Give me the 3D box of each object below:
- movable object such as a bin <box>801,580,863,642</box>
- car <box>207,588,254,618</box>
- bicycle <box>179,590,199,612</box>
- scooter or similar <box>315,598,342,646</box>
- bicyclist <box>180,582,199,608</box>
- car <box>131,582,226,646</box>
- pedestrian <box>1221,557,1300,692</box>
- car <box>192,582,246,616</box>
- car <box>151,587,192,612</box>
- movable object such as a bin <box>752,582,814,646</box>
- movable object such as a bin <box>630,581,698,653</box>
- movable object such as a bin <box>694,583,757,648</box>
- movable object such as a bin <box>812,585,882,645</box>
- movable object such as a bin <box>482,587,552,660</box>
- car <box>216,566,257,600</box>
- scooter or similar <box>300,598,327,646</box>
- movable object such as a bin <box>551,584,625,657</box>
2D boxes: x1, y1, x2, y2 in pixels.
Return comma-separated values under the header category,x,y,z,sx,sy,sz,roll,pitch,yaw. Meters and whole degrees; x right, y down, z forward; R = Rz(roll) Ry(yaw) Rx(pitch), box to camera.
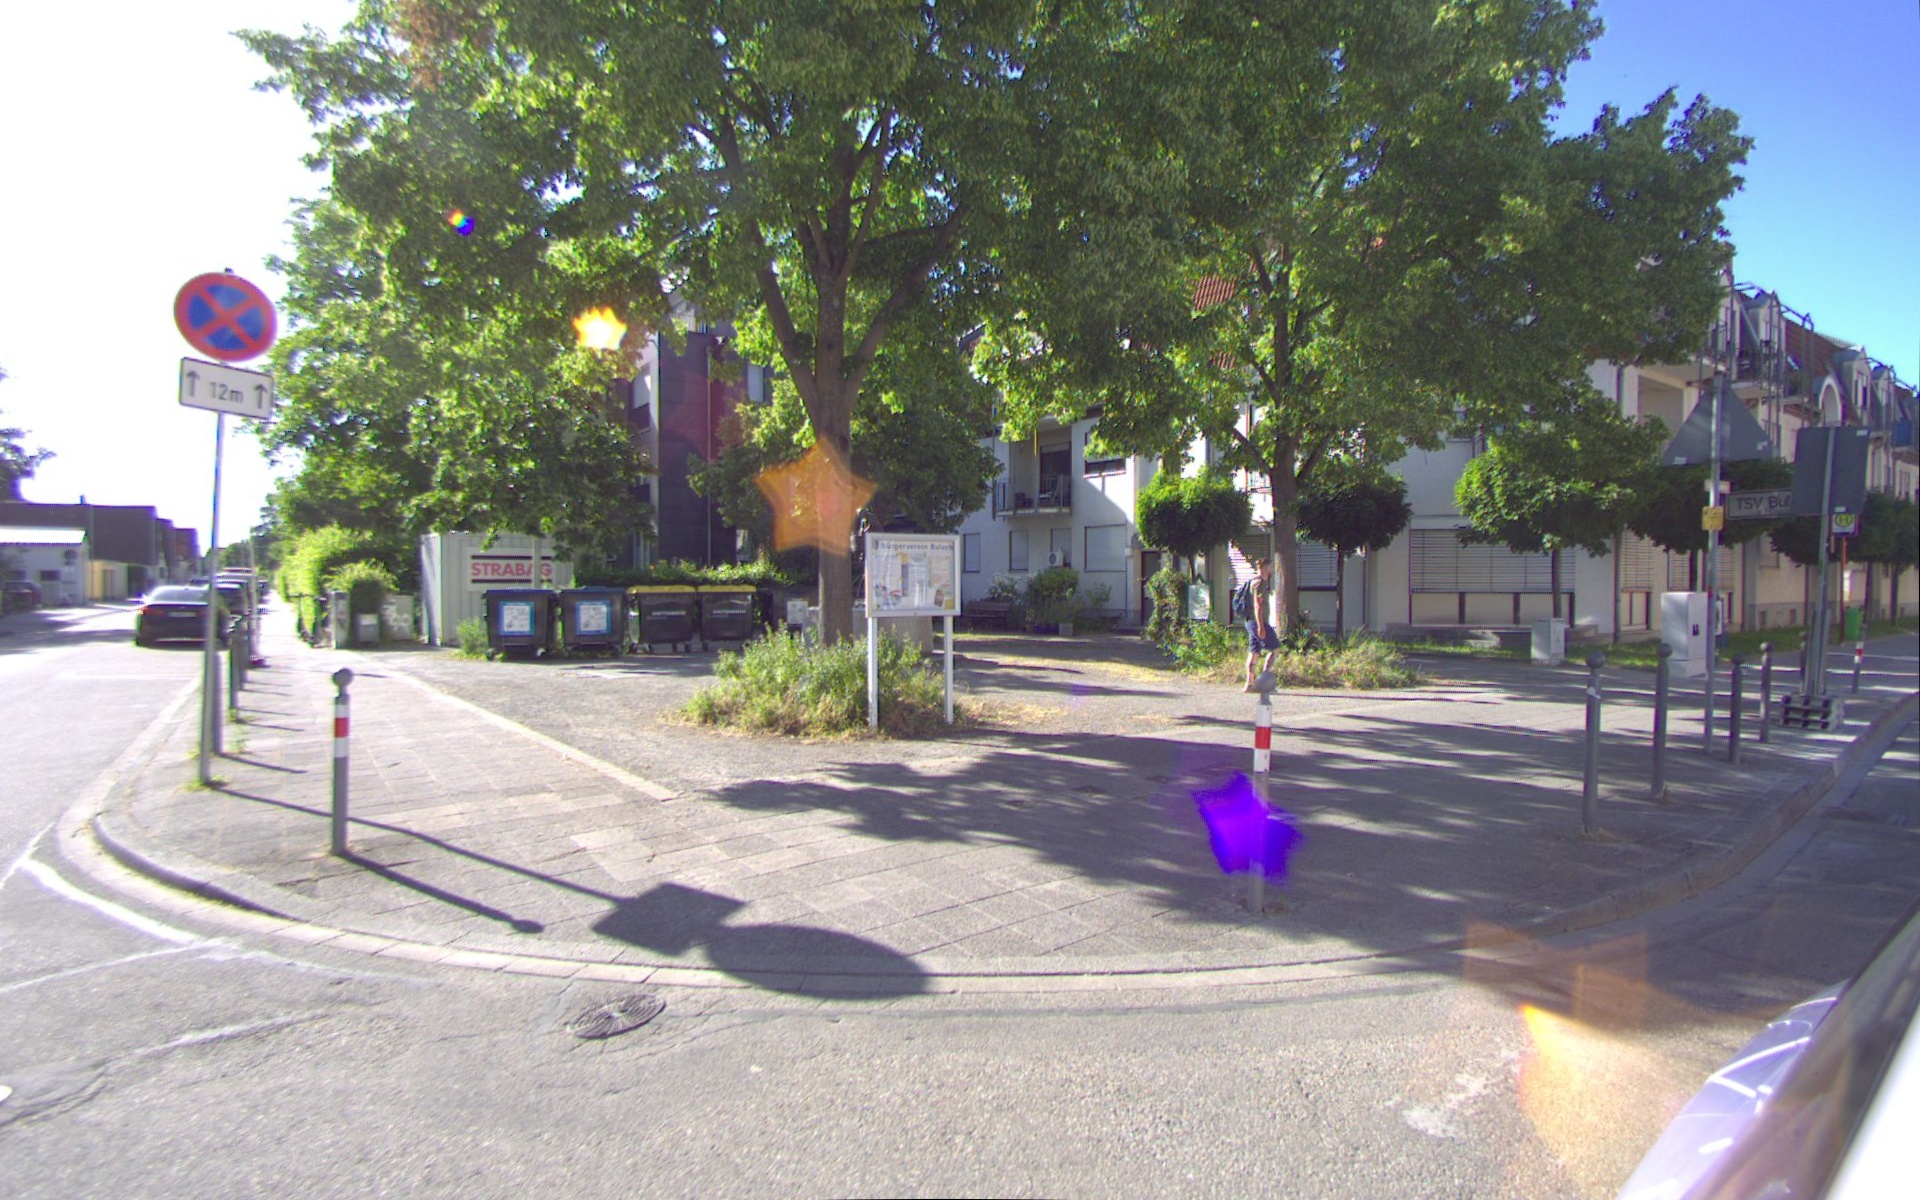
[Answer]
category,x,y,z,sx,sy,sz,roll,pitch,yaw
movable object such as a bin,-2.754,0.239,21.720,0.995,1.271,0.973,-2,-1,-28
car,-35.078,0.103,48.733,1.759,1.375,4.135,0,1,-35
bicycle,-38.777,0.059,50.903,0.709,1.063,2.222,1,0,-35
scooter or similar,-14.634,0.511,23.460,0.496,1.057,1.641,-1,-1,-32
bicyclist,-38.723,-0.252,50.854,0.709,1.283,0.836,1,0,-36
car,-19.865,0.293,25.859,1.759,1.493,4.135,0,1,-35
pedestrian,3.980,0.309,13.432,0.811,1.738,0.661,-1,0,-3
car,-31.609,-0.064,43.245,1.759,1.375,4.135,0,1,-35
car,-46.835,-0.059,60.170,1.759,1.375,4.135,0,1,-35
movable object such as a bin,-3.708,0.298,21.207,0.995,1.271,0.973,-2,-1,-28
movable object such as a bin,-5.856,0.327,19.973,1.083,1.357,0.973,-2,-1,-28
movable object such as a bin,-4.778,0.315,20.552,0.995,1.271,0.973,-2,-1,-28
movable object such as a bin,-2.481,0.331,22.269,1.024,1.271,1.117,-3,-1,38
movable object such as a bin,-8.146,0.406,18.578,1.083,1.271,0.973,-2,1,-28
car,-39.810,-0.927,55.725,1.758,1.760,4.134,1,0,-35
scooter or similar,-14.987,0.524,23.463,0.496,1.057,1.641,-1,-1,-32
movable object such as a bin,-6.885,0.372,18.712,1.125,1.275,0.973,-2,-1,-28
